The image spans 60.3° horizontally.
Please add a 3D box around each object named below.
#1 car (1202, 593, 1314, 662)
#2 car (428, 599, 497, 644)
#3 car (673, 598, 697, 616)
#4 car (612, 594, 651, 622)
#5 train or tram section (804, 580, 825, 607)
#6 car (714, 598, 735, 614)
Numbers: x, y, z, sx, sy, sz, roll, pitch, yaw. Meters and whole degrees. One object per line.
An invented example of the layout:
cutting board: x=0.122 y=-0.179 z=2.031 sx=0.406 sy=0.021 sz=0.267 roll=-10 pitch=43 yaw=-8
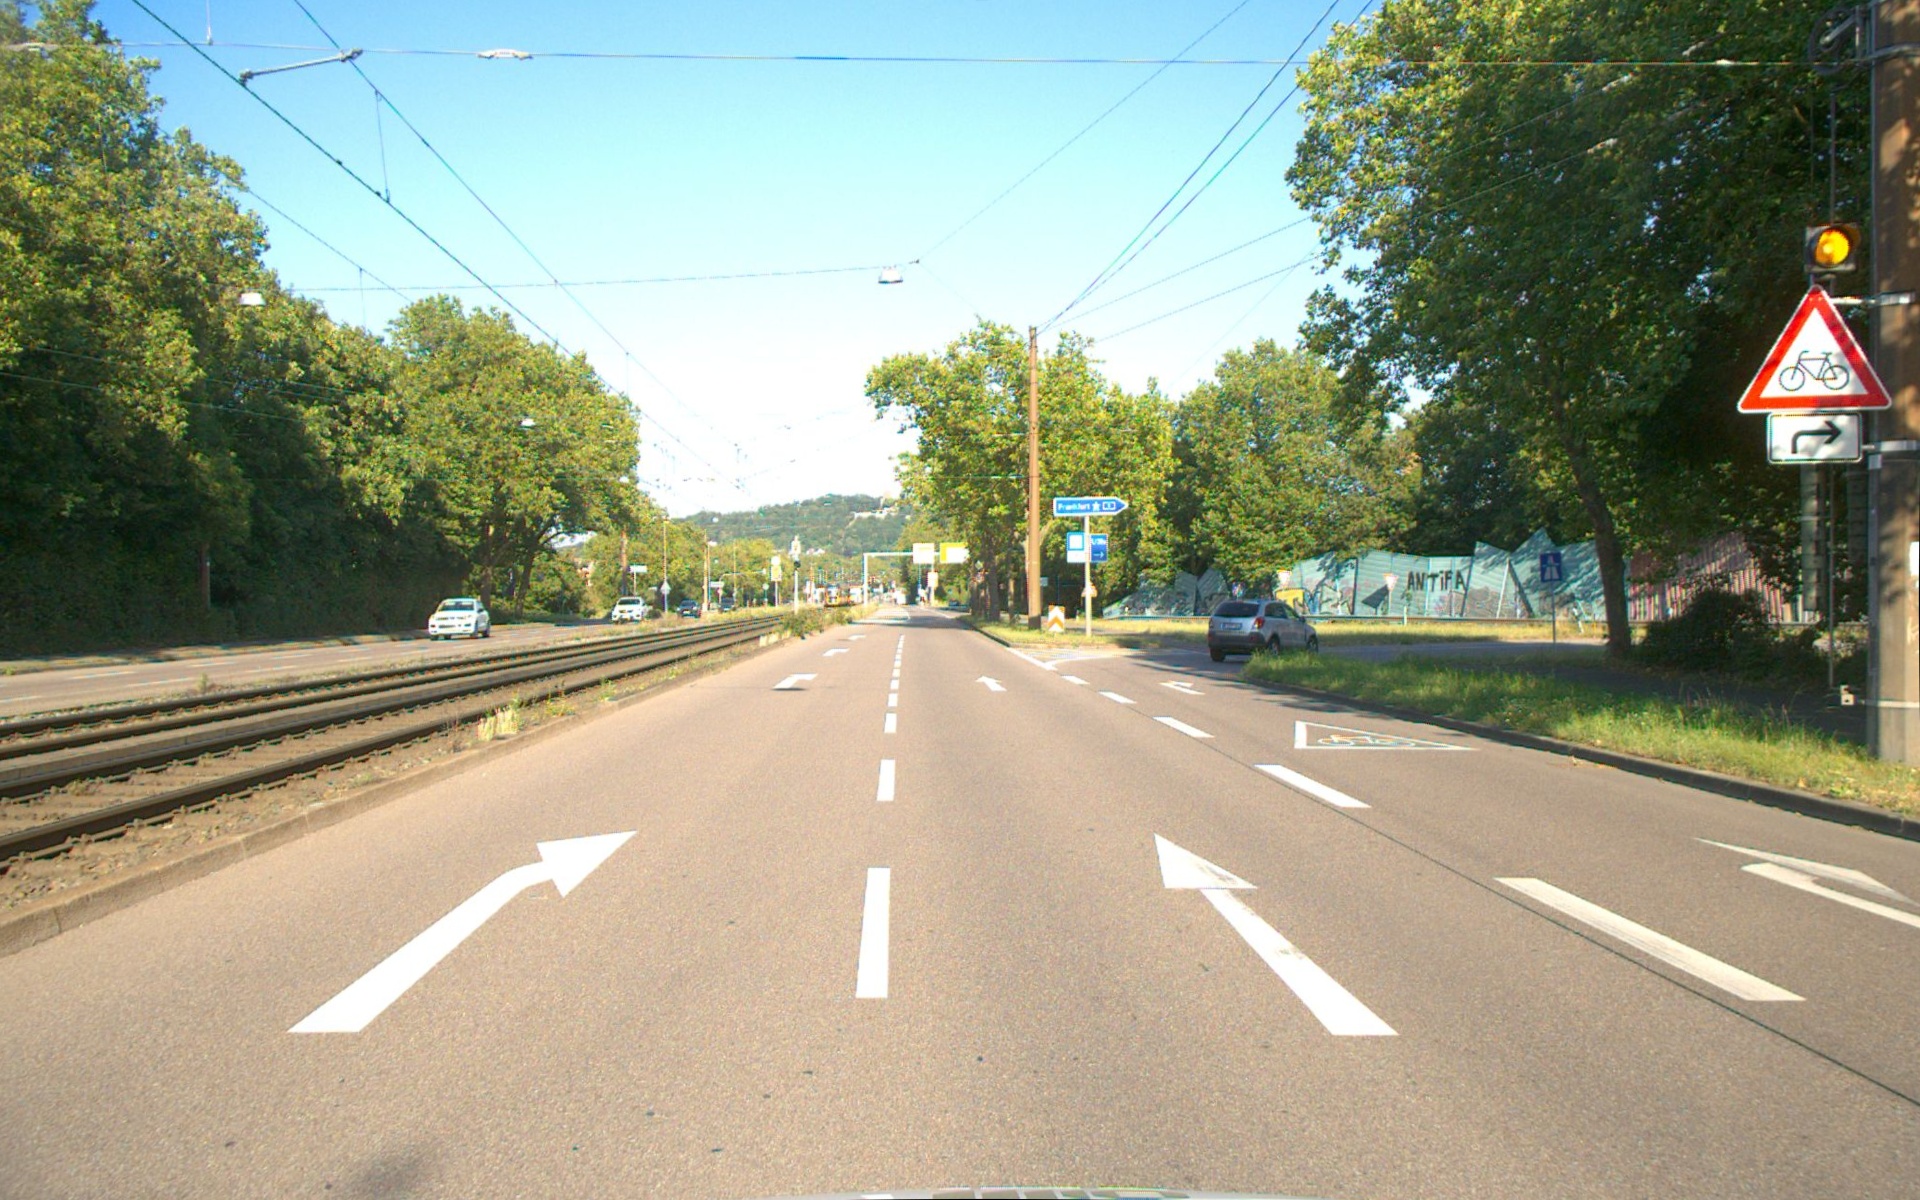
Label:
car: x=8.308 y=0.737 z=45.834 sx=1.776 sy=1.804 sz=3.853 roll=0 pitch=0 yaw=32
car: x=-21.261 y=0.892 z=70.852 sx=1.810 sy=1.764 sz=4.926 roll=-3 pitch=0 yaw=-5
car: x=-24.182 y=0.644 z=145.564 sx=1.677 sy=1.493 sz=4.344 roll=-3 pitch=0 yaw=-4
car: x=-21.701 y=0.527 z=109.447 sx=1.924 sy=1.737 sz=4.939 roll=-2 pitch=0 yaw=-4
train or tram section: x=-22.407 y=-0.924 z=255.498 sx=2.748 sy=3.971 sz=12.324 roll=1 pitch=0 yaw=-3
car: x=-25.814 y=0.671 z=181.357 sx=1.861 sy=1.724 sz=4.937 roll=-2 pitch=0 yaw=-4
